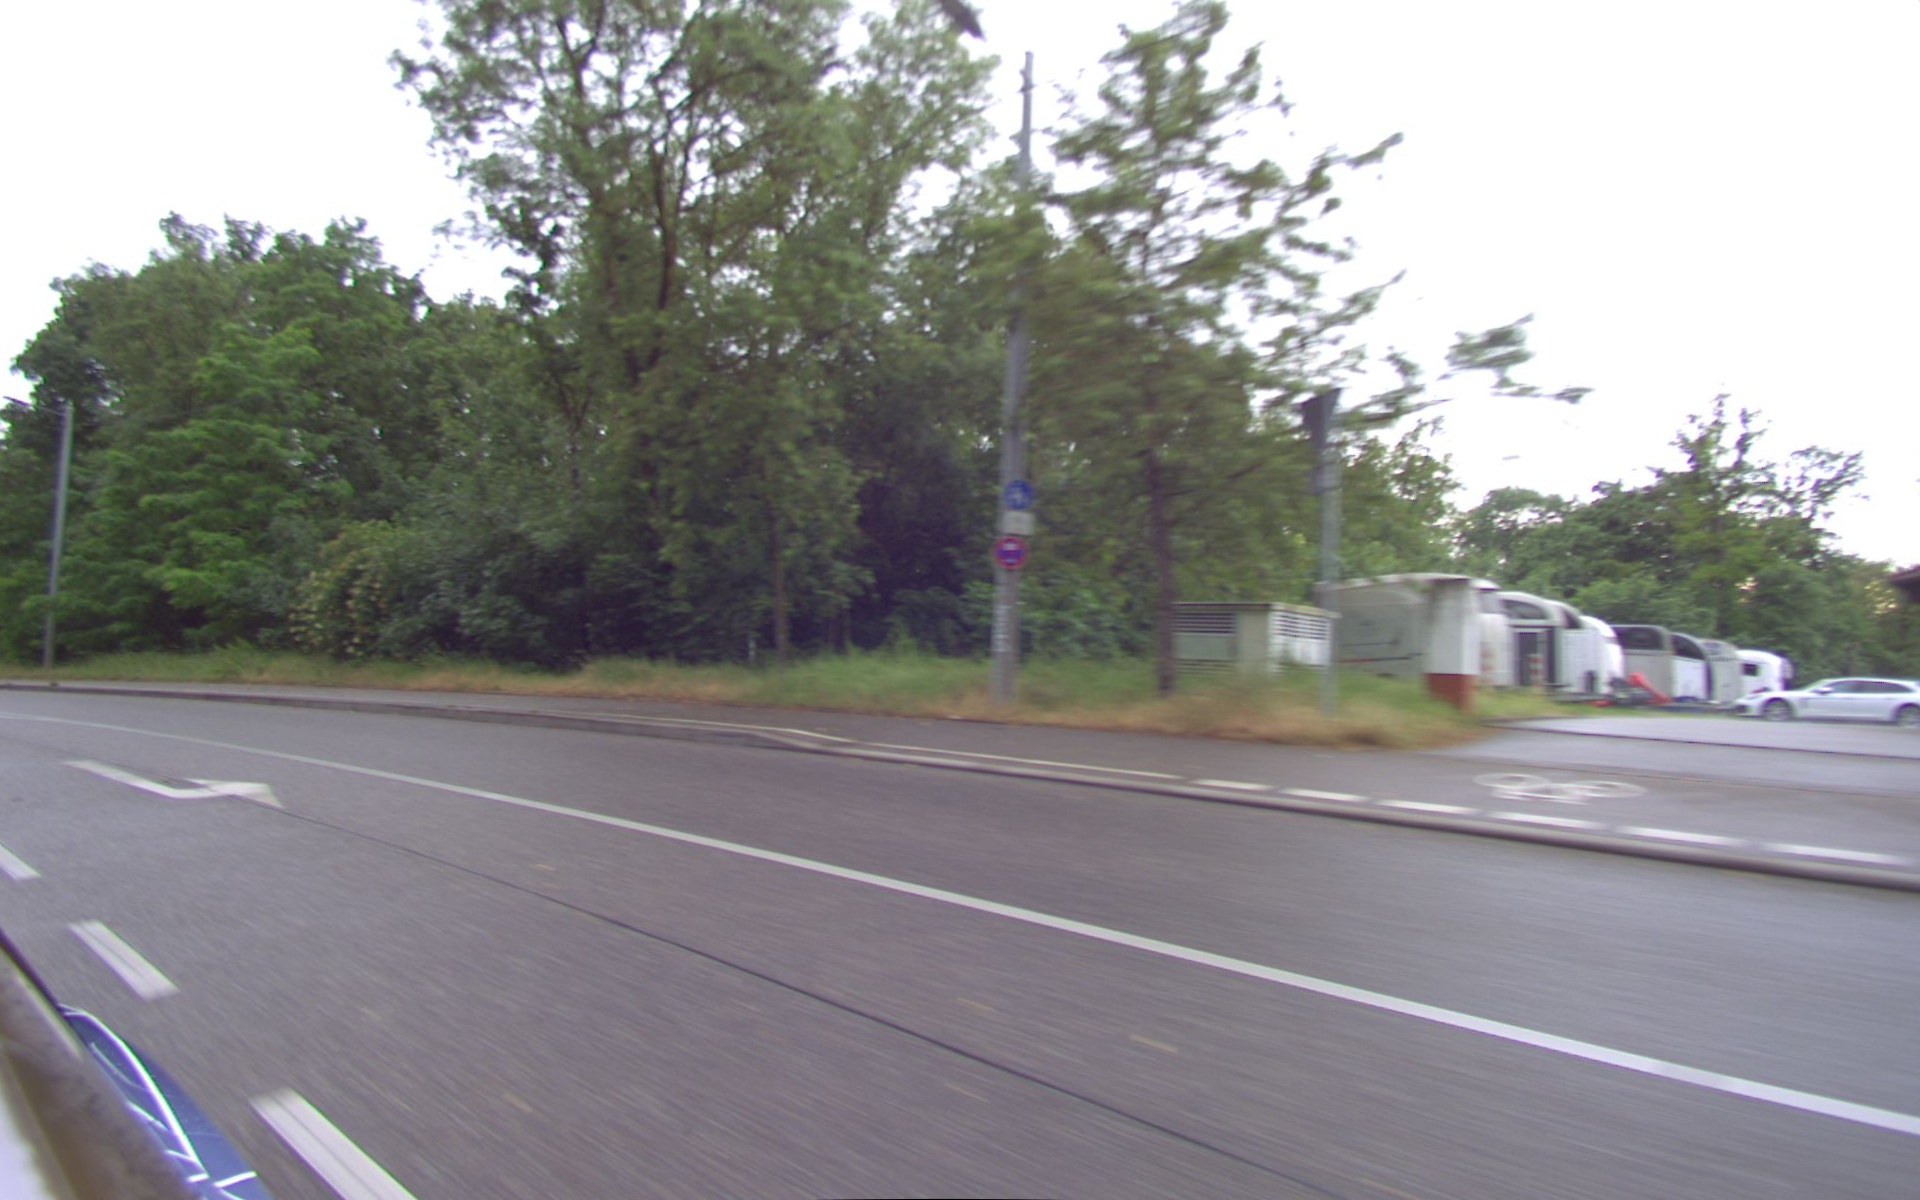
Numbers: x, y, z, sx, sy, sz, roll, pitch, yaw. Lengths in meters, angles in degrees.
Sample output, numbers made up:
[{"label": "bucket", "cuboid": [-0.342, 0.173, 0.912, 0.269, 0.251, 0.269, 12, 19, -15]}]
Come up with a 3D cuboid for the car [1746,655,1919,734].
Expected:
[{"label": "car", "cuboid": [25.453, 2.694, 28.800, 4.790, 2.029, 1.962, 0, -6, 37]}]
